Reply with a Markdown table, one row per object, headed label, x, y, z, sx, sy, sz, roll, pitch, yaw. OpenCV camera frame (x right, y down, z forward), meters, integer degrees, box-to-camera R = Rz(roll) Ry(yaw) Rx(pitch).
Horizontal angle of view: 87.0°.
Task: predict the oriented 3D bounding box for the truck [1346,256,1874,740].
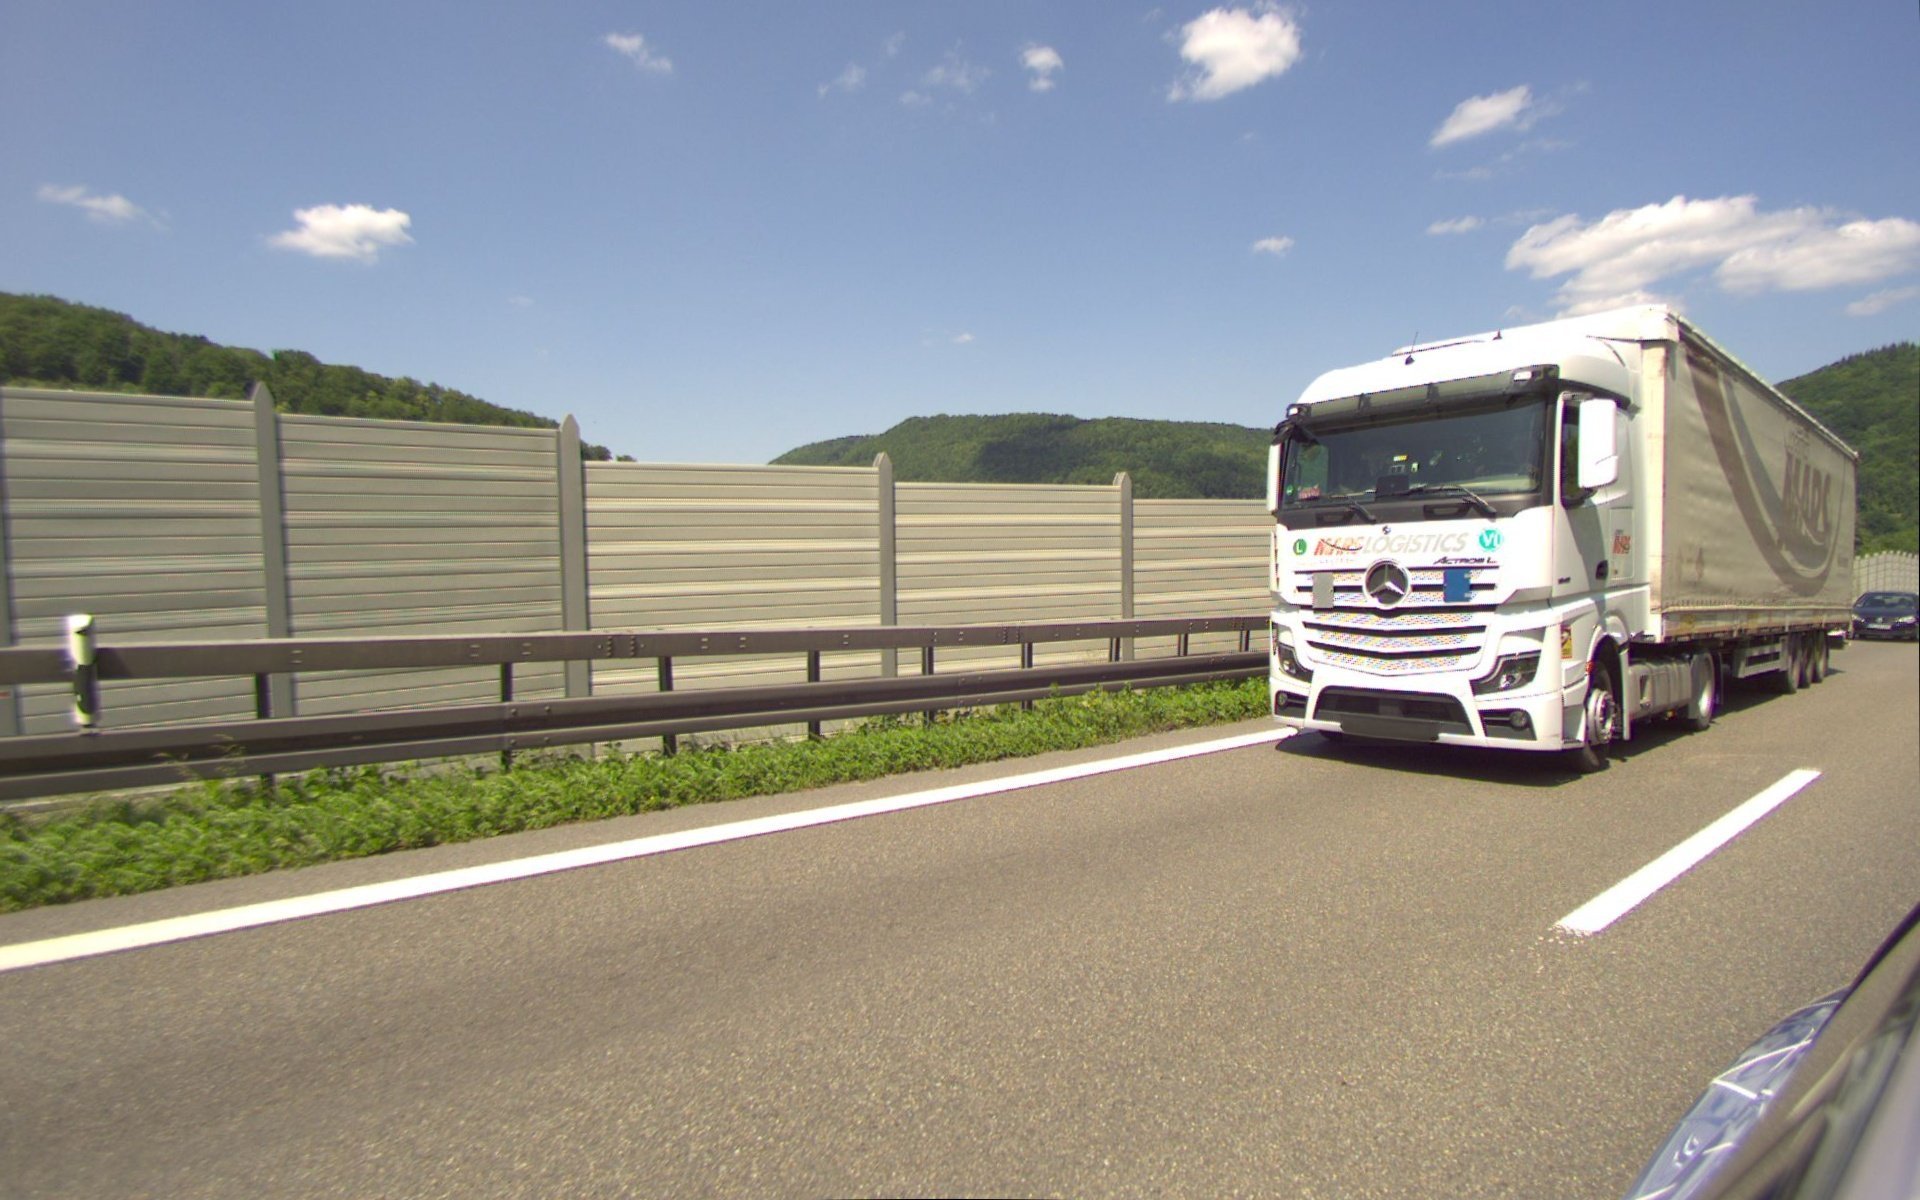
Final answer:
| label | x | y | z | sx | sy | sz | roll | pitch | yaw |
| --- | --- | --- | --- | --- | --- | --- | --- | --- | --- |
| truck | 9.597 | -0.962 | 13.806 | 11.838 | 4.199 | 2.859 | 0 | 2 | -41 |

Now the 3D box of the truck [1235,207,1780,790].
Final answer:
| label | x | y | z | sx | sy | sz | roll | pitch | yaw |
| --- | --- | --- | --- | --- | --- | --- | --- | --- | --- |
| truck | 5.940 | -0.814 | 10.383 | 6.706 | 4.089 | 2.762 | -2 | 1 | -41 |

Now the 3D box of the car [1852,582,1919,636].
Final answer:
| label | x | y | z | sx | sy | sz | roll | pitch | yaw |
| --- | --- | --- | --- | --- | --- | --- | --- | --- | --- |
| car | 27.771 | 0.225 | 29.911 | 3.415 | 1.430 | 1.661 | -1 | 4 | -41 |
